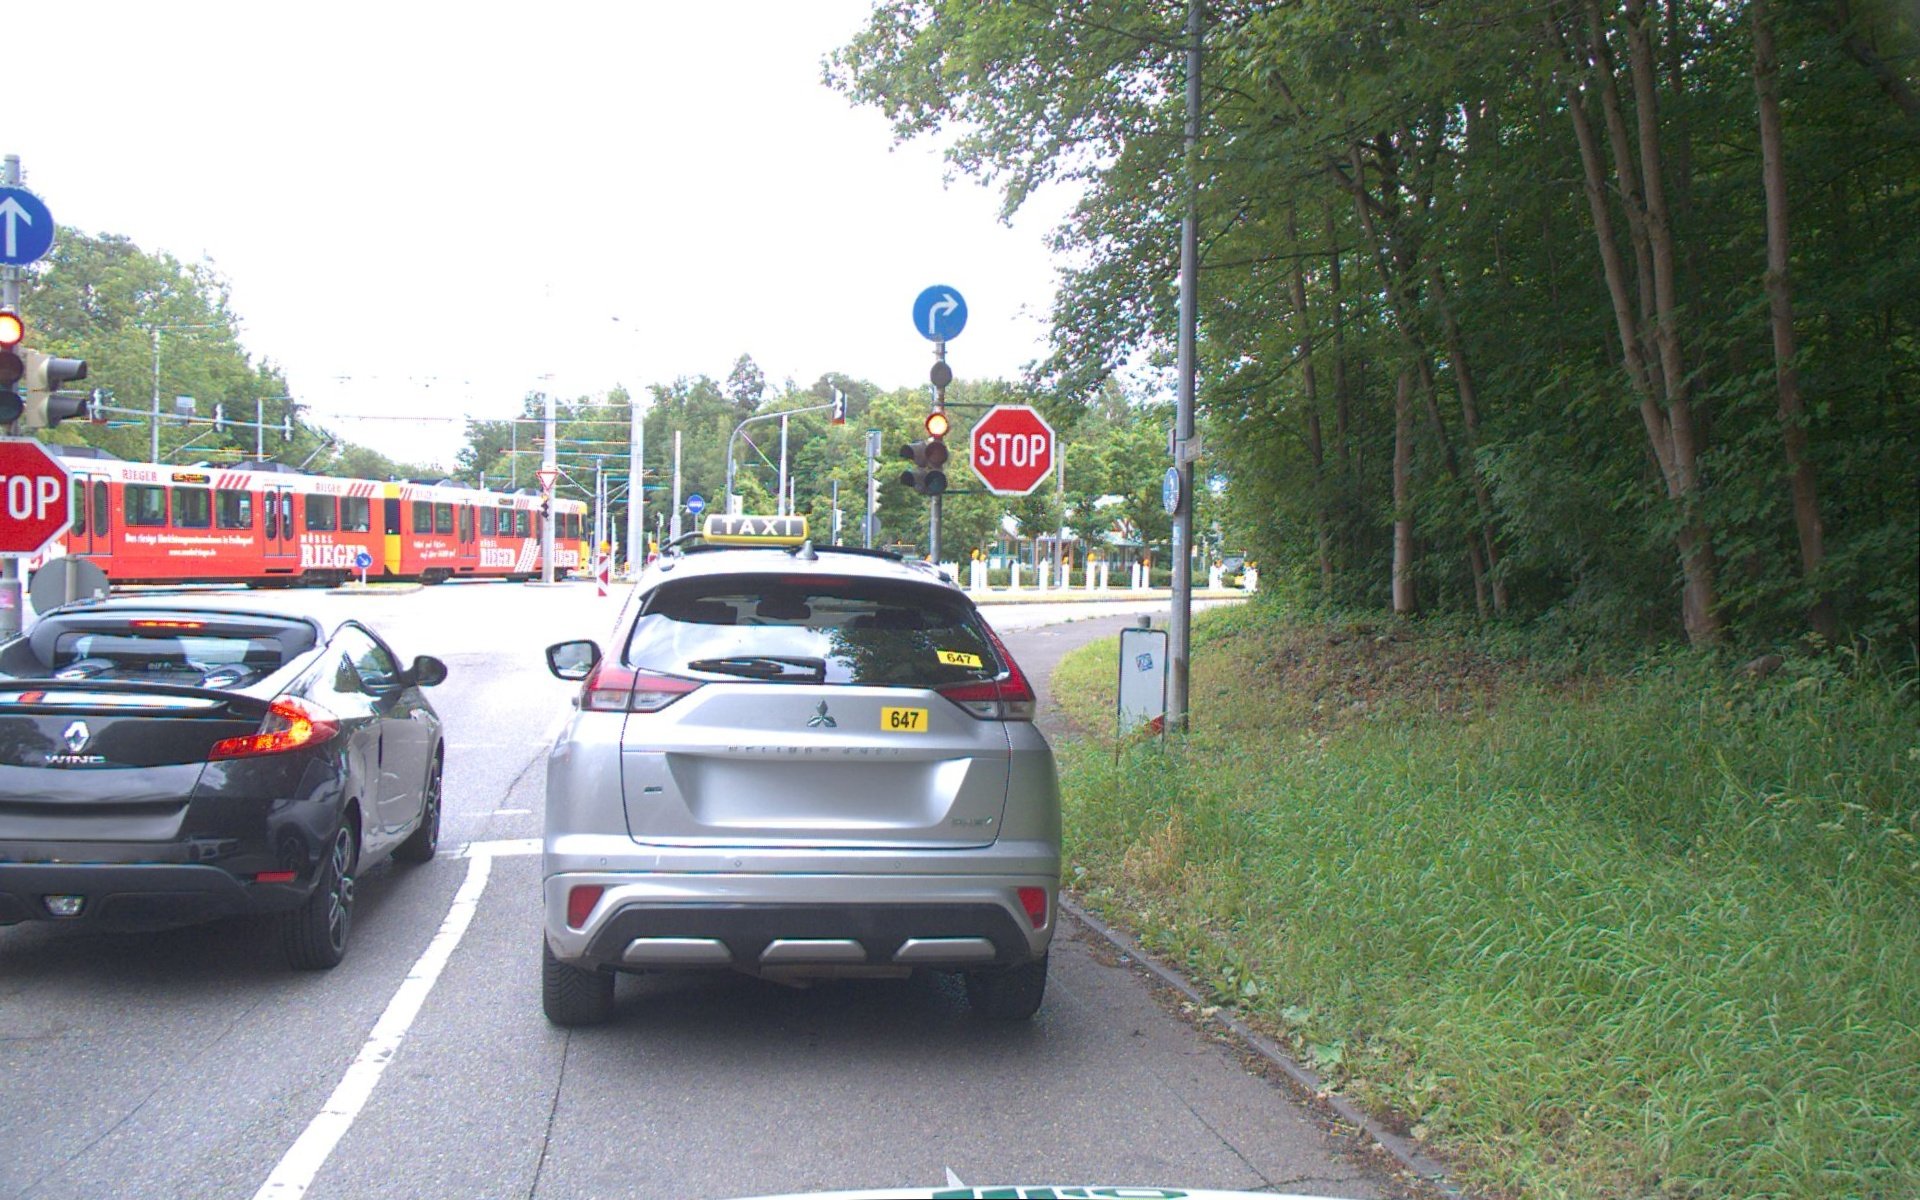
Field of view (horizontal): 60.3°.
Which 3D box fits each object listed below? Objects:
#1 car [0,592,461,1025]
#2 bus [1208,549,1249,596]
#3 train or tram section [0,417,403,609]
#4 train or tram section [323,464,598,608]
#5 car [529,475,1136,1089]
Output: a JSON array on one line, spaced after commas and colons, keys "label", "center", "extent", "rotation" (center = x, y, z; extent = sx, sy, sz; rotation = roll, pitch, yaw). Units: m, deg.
[{"label": "car", "center": [-3.316, 0.690, 7.267], "extent": [1.741, 1.385, 3.468], "rotation": [0, 1, -10]}, {"label": "bus", "center": [22.065, -2.334, 136.401], "extent": [2.761, 3.665, 12.815], "rotation": [1, 2, 7]}, {"label": "train or tram section", "center": [-22.349, -2.045, 45.777], "extent": [2.893, 4.496, 18.740], "rotation": [1, 0, 16]}, {"label": "train or tram section", "center": [-18.659, -2.103, 64.275], "extent": [2.884, 4.732, 18.559], "rotation": [1, 0, 7]}, {"label": "car", "center": [-0.646, 0.522, 6.794], "extent": [1.741, 1.778, 3.773], "rotation": [2, 1, -9]}]
